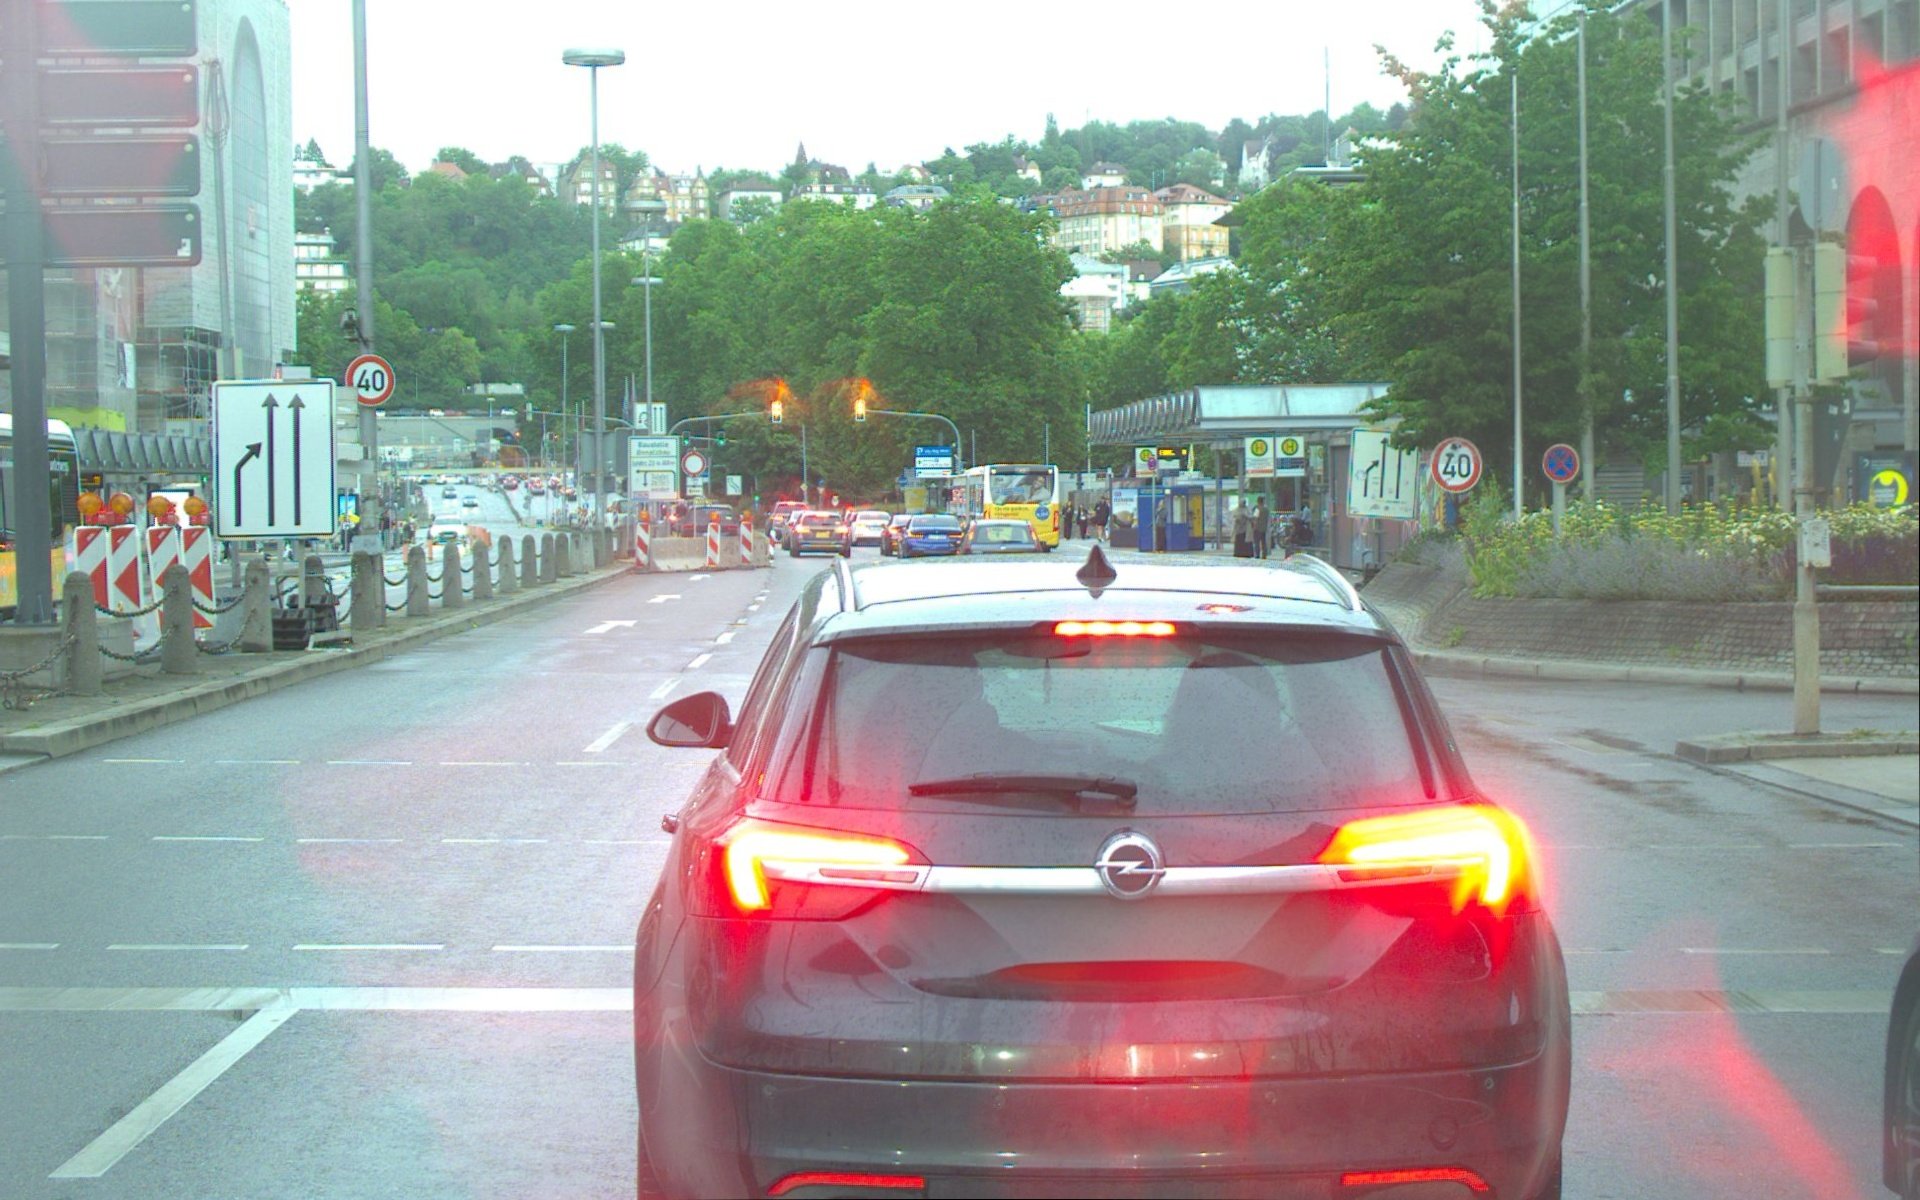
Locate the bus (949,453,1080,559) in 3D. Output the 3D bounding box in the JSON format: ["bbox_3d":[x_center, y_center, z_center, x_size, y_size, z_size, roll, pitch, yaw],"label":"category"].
[{"bbox_3d":[1.785,-3.198,120.868,4.173,3.457,14.655,1,1,-1],"label":"bus"}]

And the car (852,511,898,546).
[{"bbox_3d":[-3.475,-2.934,140.891,1.845,1.393,3.564,1,1,-1],"label":"car"}]

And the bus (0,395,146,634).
[{"bbox_3d":[-15.828,-1.359,56.224,2.668,3.589,10.212,1,1,-1],"label":"bus"}]

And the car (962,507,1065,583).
[{"bbox_3d":[0.998,-1.048,65.808,1.845,1.393,3.667,1,1,-1],"label":"car"}]

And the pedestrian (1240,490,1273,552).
[{"bbox_3d":[8.130,-2.158,94.291,0.763,1.684,0.825,1,1,-5],"label":"pedestrian"}]

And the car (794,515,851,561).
[{"bbox_3d":[-4.375,-1.964,109.622,1.753,1.393,4.538,1,1,-2],"label":"car"}]

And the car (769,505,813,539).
[{"bbox_3d":[-7.354,-3.396,149.954,1.759,1.393,3.564,1,1,-1],"label":"car"}]

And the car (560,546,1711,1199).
[{"bbox_3d":[0.248,0.639,7.640,1.874,1.481,4.000,1,1,-1],"label":"car"}]

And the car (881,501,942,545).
[{"bbox_3d":[-1.633,-2.559,114.555,1.753,1.393,4.403,1,1,-4],"label":"car"}]

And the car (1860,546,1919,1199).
[{"bbox_3d":[2.744,0.682,4.674,1.793,1.496,4.629,1,1,0],"label":"car"}]

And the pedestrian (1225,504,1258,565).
[{"bbox_3d":[7.804,-1.816,95.422,0.763,1.684,0.825,1,1,-5],"label":"pedestrian"}]

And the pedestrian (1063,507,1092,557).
[{"bbox_3d":[5.066,-2.939,148.605,1.199,2.141,1.228,1,1,1],"label":"pedestrian"}]

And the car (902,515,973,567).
[{"bbox_3d":[-0.652,-1.652,96.961,1.753,1.393,4.649,1,1,-3],"label":"car"}]

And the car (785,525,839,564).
[{"bbox_3d":[-5.435,-2.028,126.326,1.845,1.393,3.564,1,1,-1],"label":"car"}]

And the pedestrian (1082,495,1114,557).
[{"bbox_3d":[5.412,-2.897,134.869,1.199,2.427,1.228,1,1,1],"label":"pedestrian"}]
